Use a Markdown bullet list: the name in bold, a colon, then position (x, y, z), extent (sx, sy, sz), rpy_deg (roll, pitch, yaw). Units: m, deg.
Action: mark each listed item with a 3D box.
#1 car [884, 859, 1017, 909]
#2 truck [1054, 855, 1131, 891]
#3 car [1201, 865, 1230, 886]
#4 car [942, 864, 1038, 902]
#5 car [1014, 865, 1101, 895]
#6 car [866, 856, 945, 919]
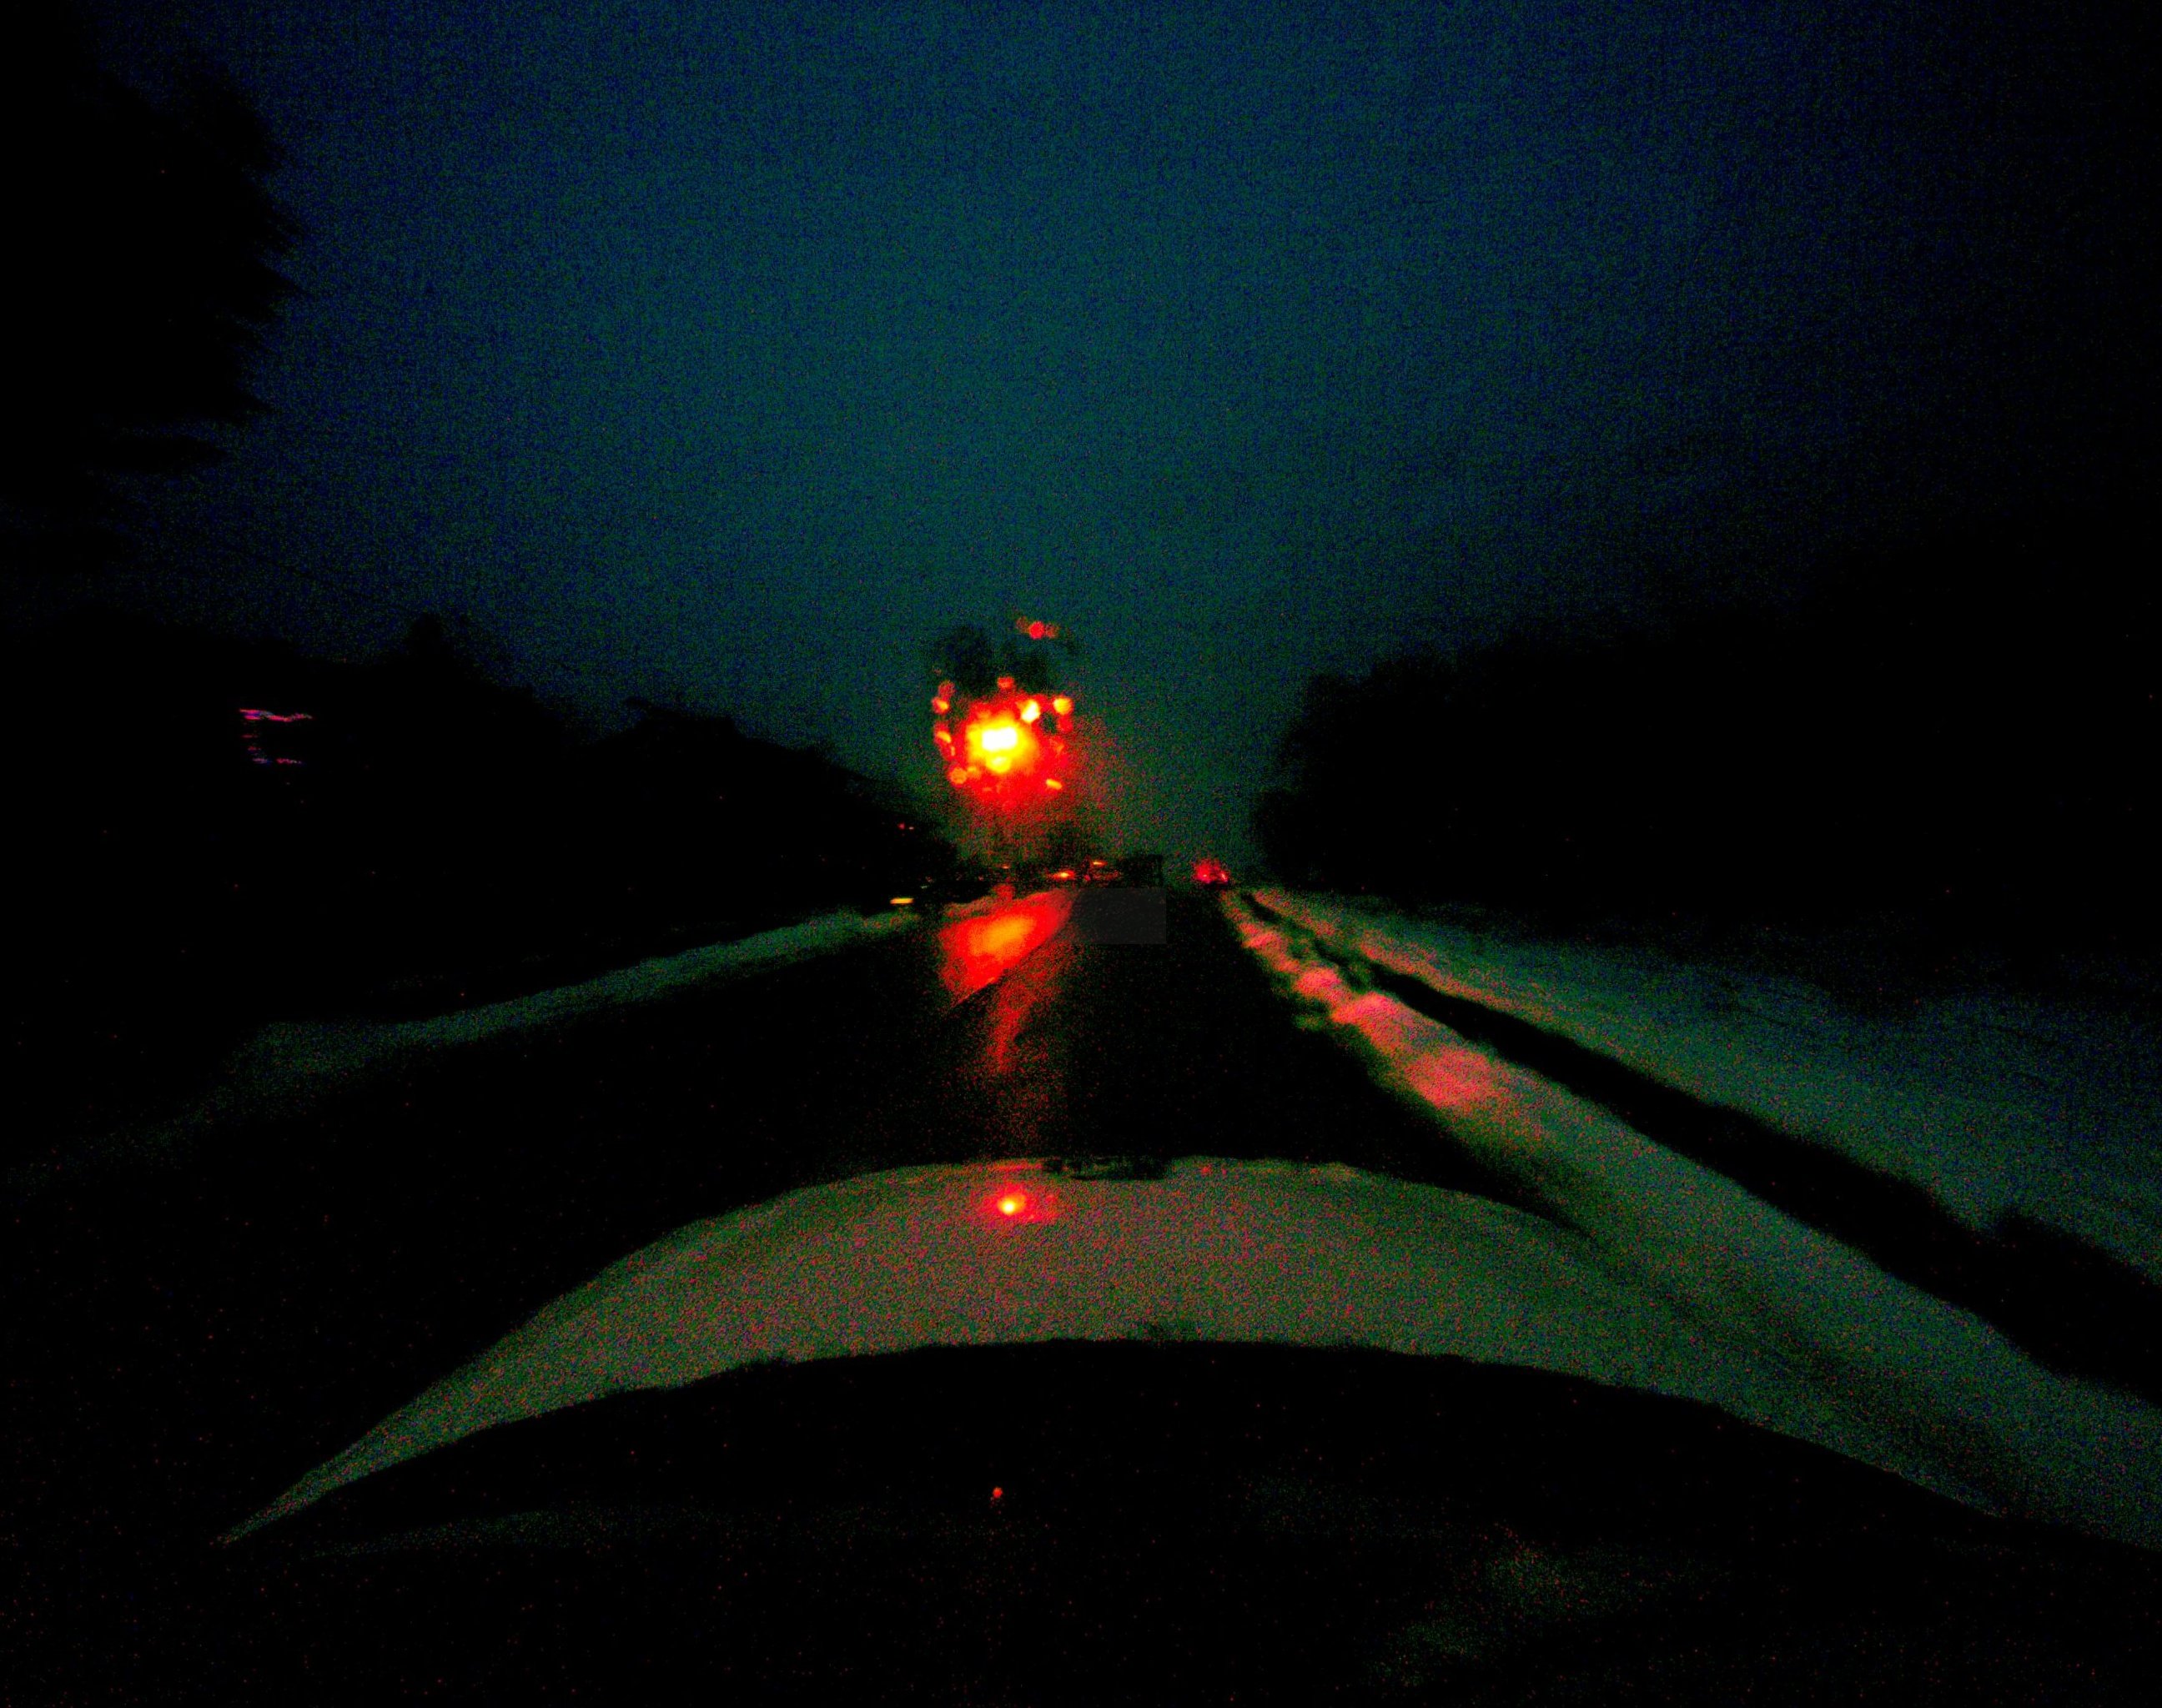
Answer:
- **car**: position (-4.778, 1.112, 30.331), extent (4.513, 1.566, 2.110), rpy_deg (-3, -1, 0)
- **truck**: position (0.891, 1.367, 58.844), extent (5.232, 2.303, 2.004), rpy_deg (-3, -2, 7)
- **car**: position (9.739, 1.579, 59.033), extent (1.981, 1.420, 4.010), rpy_deg (0, -2, 10)
- **car**: position (-3.989, 1.273, 36.113), extent (3.837, 1.471, 1.941), rpy_deg (-3, -2, 4)
- **car**: position (-1.381, 1.558, 49.247), extent (4.859, 1.485, 2.128), rpy_deg (-3, -2, 8)
- **car**: position (-5.165, 0.998, 24.562), extent (1.993, 1.566, 4.980), rpy_deg (-4, -2, -9)
